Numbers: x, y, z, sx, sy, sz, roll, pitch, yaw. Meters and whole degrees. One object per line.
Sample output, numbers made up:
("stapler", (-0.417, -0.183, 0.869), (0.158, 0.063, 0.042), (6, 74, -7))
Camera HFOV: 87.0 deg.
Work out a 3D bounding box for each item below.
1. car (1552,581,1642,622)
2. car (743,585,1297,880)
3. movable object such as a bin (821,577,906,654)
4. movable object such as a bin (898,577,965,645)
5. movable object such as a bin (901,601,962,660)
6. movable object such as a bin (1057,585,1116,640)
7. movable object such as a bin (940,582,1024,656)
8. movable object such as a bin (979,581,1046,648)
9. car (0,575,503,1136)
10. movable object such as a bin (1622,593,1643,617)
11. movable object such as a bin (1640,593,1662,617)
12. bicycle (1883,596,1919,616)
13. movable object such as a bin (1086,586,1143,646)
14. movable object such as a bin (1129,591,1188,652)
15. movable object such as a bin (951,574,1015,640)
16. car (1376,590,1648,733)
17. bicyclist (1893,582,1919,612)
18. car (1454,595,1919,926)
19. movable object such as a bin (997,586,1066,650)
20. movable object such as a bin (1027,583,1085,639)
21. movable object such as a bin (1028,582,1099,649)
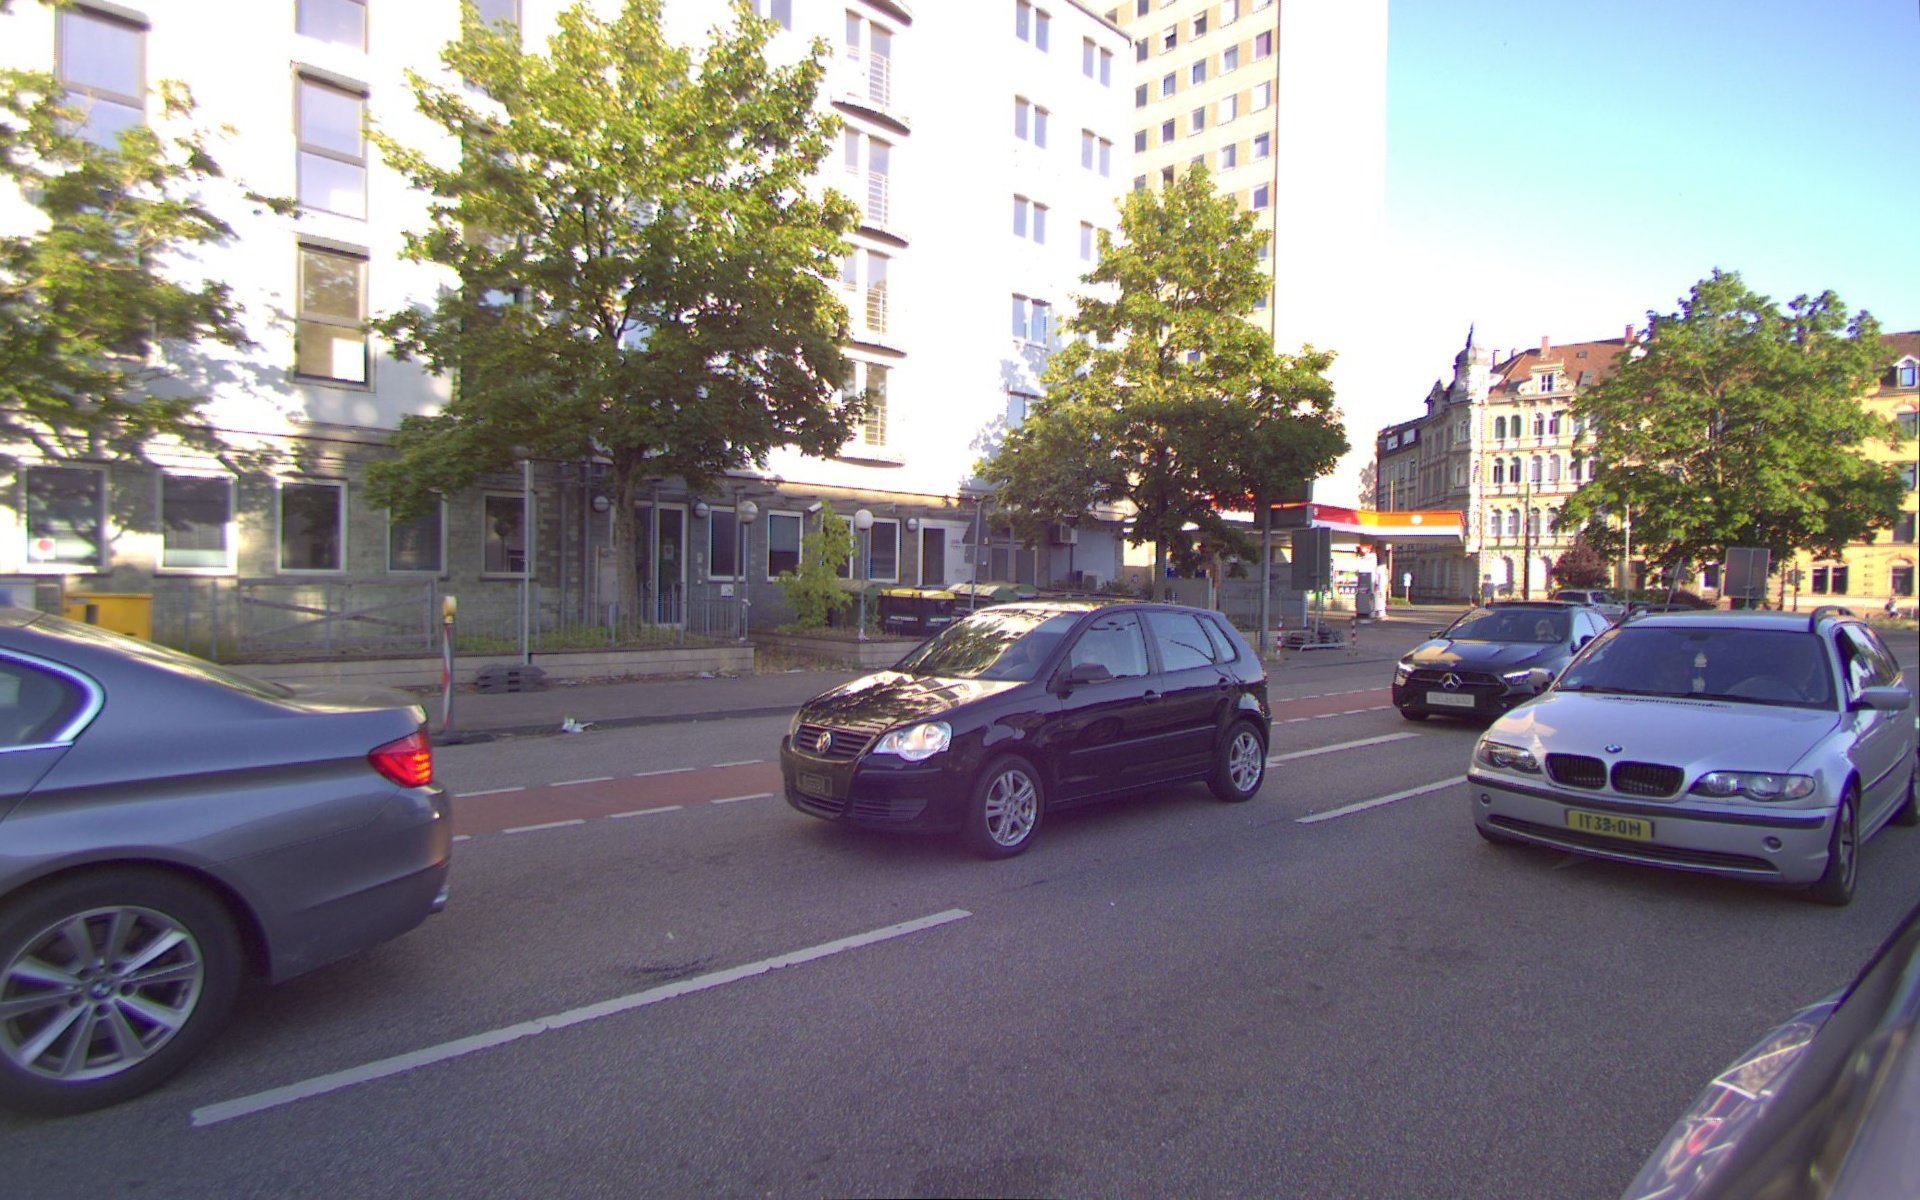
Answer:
("car", (25.768, 0.029, 40.907), (3.723, 1.535, 1.691), (-1, 2, -34))
("car", (0.595, 0.645, 6.912), (3.806, 1.467, 1.583), (0, 0, -42))
("movable object such as a bin", (-1.945, 0.284, 20.405), (1.348, 1.479, 1.088), (2, 2, 45))
("movable object such as a bin", (-0.663, 0.234, 23.625), (1.143, 1.517, 1.033), (0, 1, -44))
("movable object such as a bin", (-0.557, 0.572, 19.474), (0.851, 1.058, 0.807), (2, 1, 45))
("movable object such as a bin", (3.081, 0.288, 24.619), (1.080, 1.299, 0.954), (0, 1, -44))
("movable object such as a bin", (0.458, 0.358, 20.874), (1.348, 1.441, 1.088), (2, 2, 45))
("movable object such as a bin", (1.202, 0.318, 23.195), (1.143, 1.467, 1.033), (0, 1, -44))
("car", (-3.868, 0.663, 2.605), (4.588, 1.467, 1.817), (0, 0, -43))
("movable object such as a bin", (29.106, 0.211, 43.786), (0.675, 1.031, 0.544), (0, 1, -36))
("movable object such as a bin", (29.420, 0.209, 43.100), (0.675, 1.031, 0.544), (0, 1, -36))
("bicycle", (53.726, 0.340, 57.472), (1.920, 1.072, 0.444), (2, 1, 43))
("movable object such as a bin", (3.609, 0.363, 23.654), (0.938, 1.345, 0.954), (0, 1, -43))
("movable object such as a bin", (4.540, 0.473, 23.178), (0.938, 1.345, 0.954), (0, 1, -43))
("movable object such as a bin", (0.554, 0.153, 24.187), (1.143, 1.517, 1.033), (0, 1, -44))
("car", (6.849, 0.617, 12.387), (3.976, 1.467, 1.729), (0, 0, -42))
("bicyclist", (53.756, -0.159, 57.515), (1.062, 1.669, 0.721), (2, 1, 43))
("car", (5.012, 0.694, 6.469), (4.360, 1.436, 1.674), (0, 0, -39))
("movable object such as a bin", (1.561, 0.372, 22.065), (1.143, 1.345, 0.954), (0, 1, -44))
("movable object such as a bin", (2.402, 0.258, 25.348), (1.080, 1.345, 0.954), (0, 1, -44))
("movable object such as a bin", (2.148, 0.303, 21.067), (1.143, 1.345, 0.954), (0, 1, -44))
